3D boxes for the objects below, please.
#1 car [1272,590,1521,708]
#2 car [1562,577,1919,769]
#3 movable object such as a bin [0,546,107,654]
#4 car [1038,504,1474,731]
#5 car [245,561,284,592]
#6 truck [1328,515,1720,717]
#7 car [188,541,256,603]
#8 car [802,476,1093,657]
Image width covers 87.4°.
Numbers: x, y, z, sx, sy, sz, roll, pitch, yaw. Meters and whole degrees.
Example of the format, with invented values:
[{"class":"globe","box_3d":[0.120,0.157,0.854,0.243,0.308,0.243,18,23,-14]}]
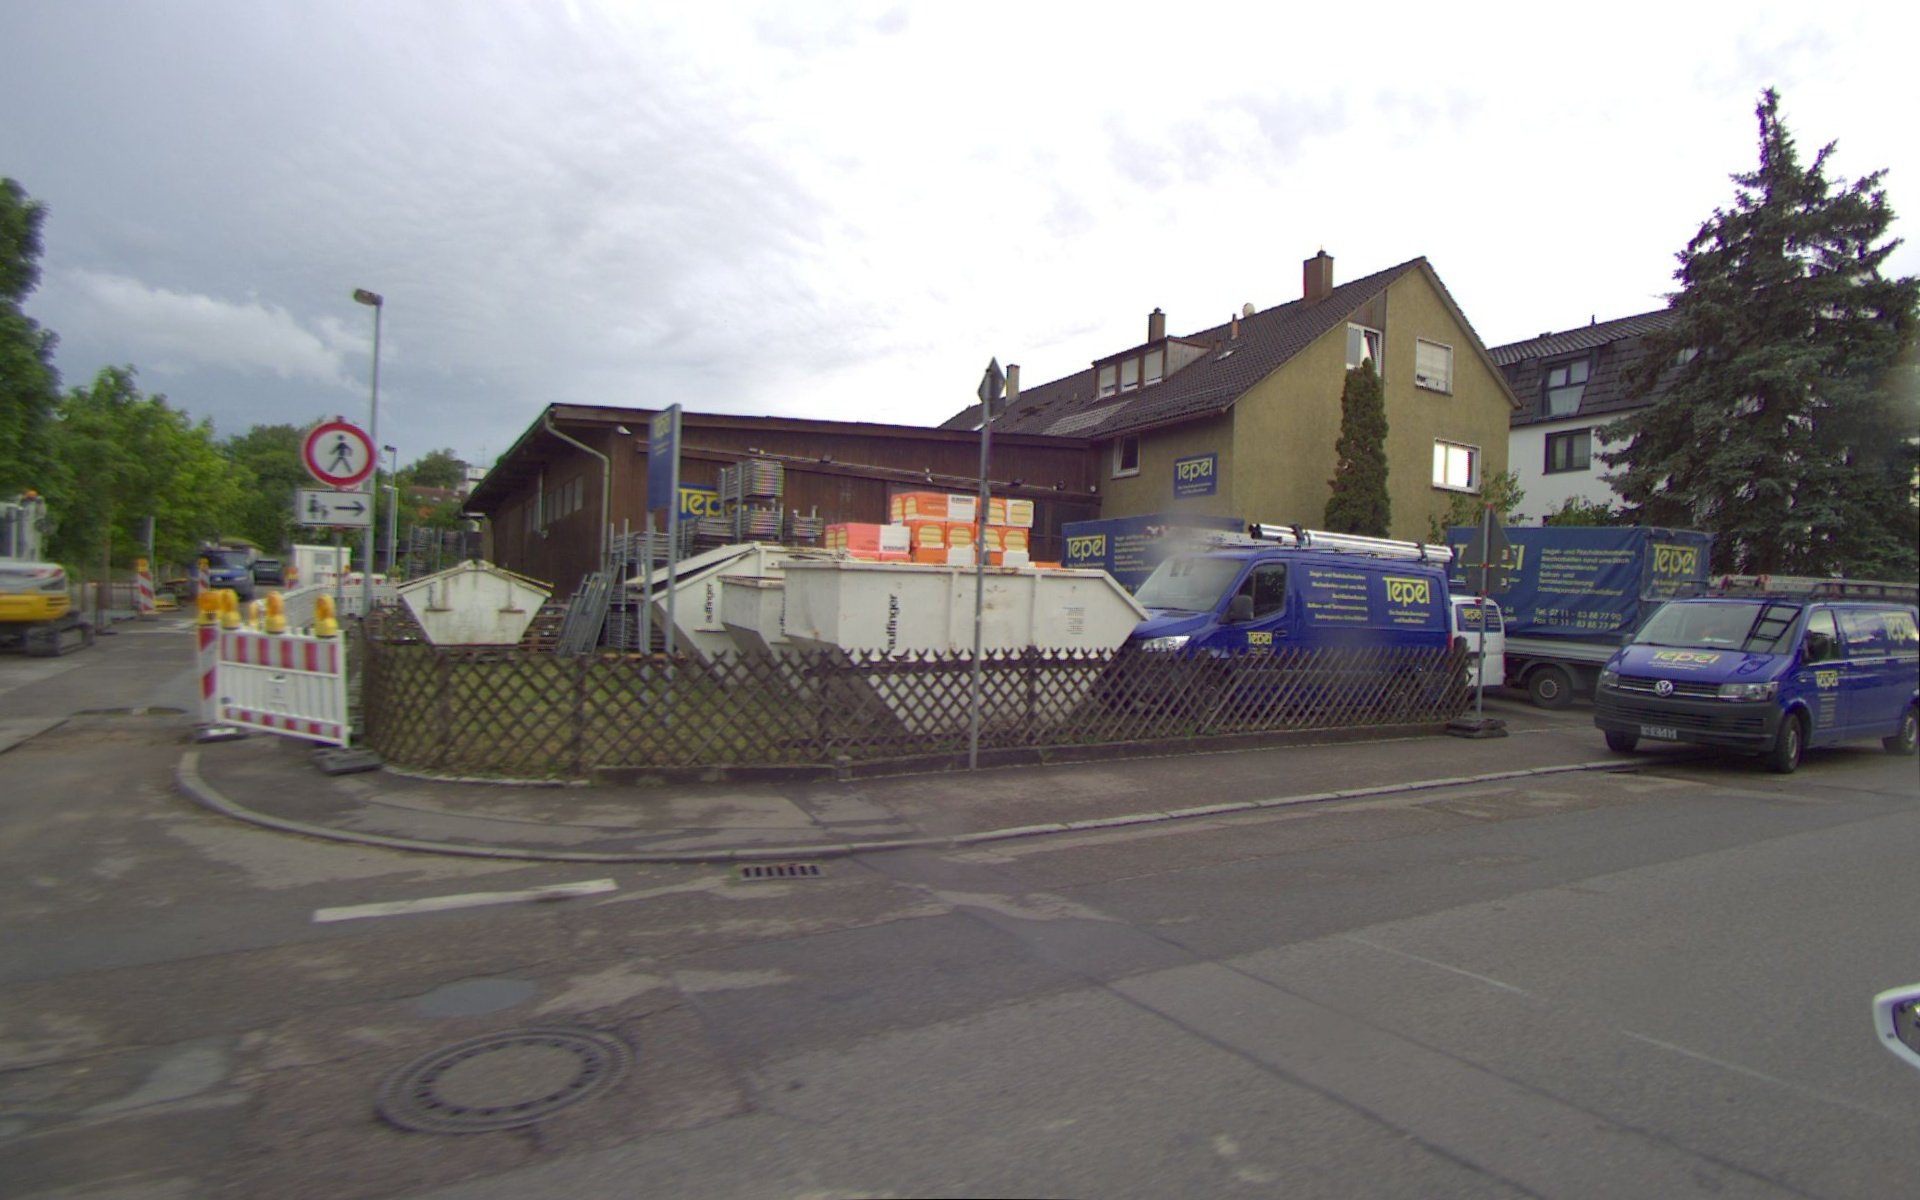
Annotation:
[{"class":"car","box_3d":[7.520,0.782,17.669,1.756,1.773,3.694,2,1,-28]},{"class":"car","box_3d":[10.026,0.793,12.570,5.303,1.973,1.984,1,0,-31]},{"class":"movable object such as a bin","box_3d":[-16.740,-0.050,17.924,1.981,1.783,3.398,2,1,-36]},{"class":"car","box_3d":[4.236,0.280,13.944,6.127,2.601,2.066,2,1,-30]},{"class":"car","box_3d":[-44.306,-1.507,64.047,1.955,1.797,4.195,2,1,-34]},{"class":"truck","box_3d":[10.095,0.211,18.667,2.420,3.114,5.886,2,1,-28]},{"class":"car","box_3d":[-29.654,-1.148,40.473,1.955,2.269,5.192,2,1,-34]},{"class":"car","box_3d":[-0.192,-0.529,19.386,5.180,3.054,2.066,2,1,-29]}]
